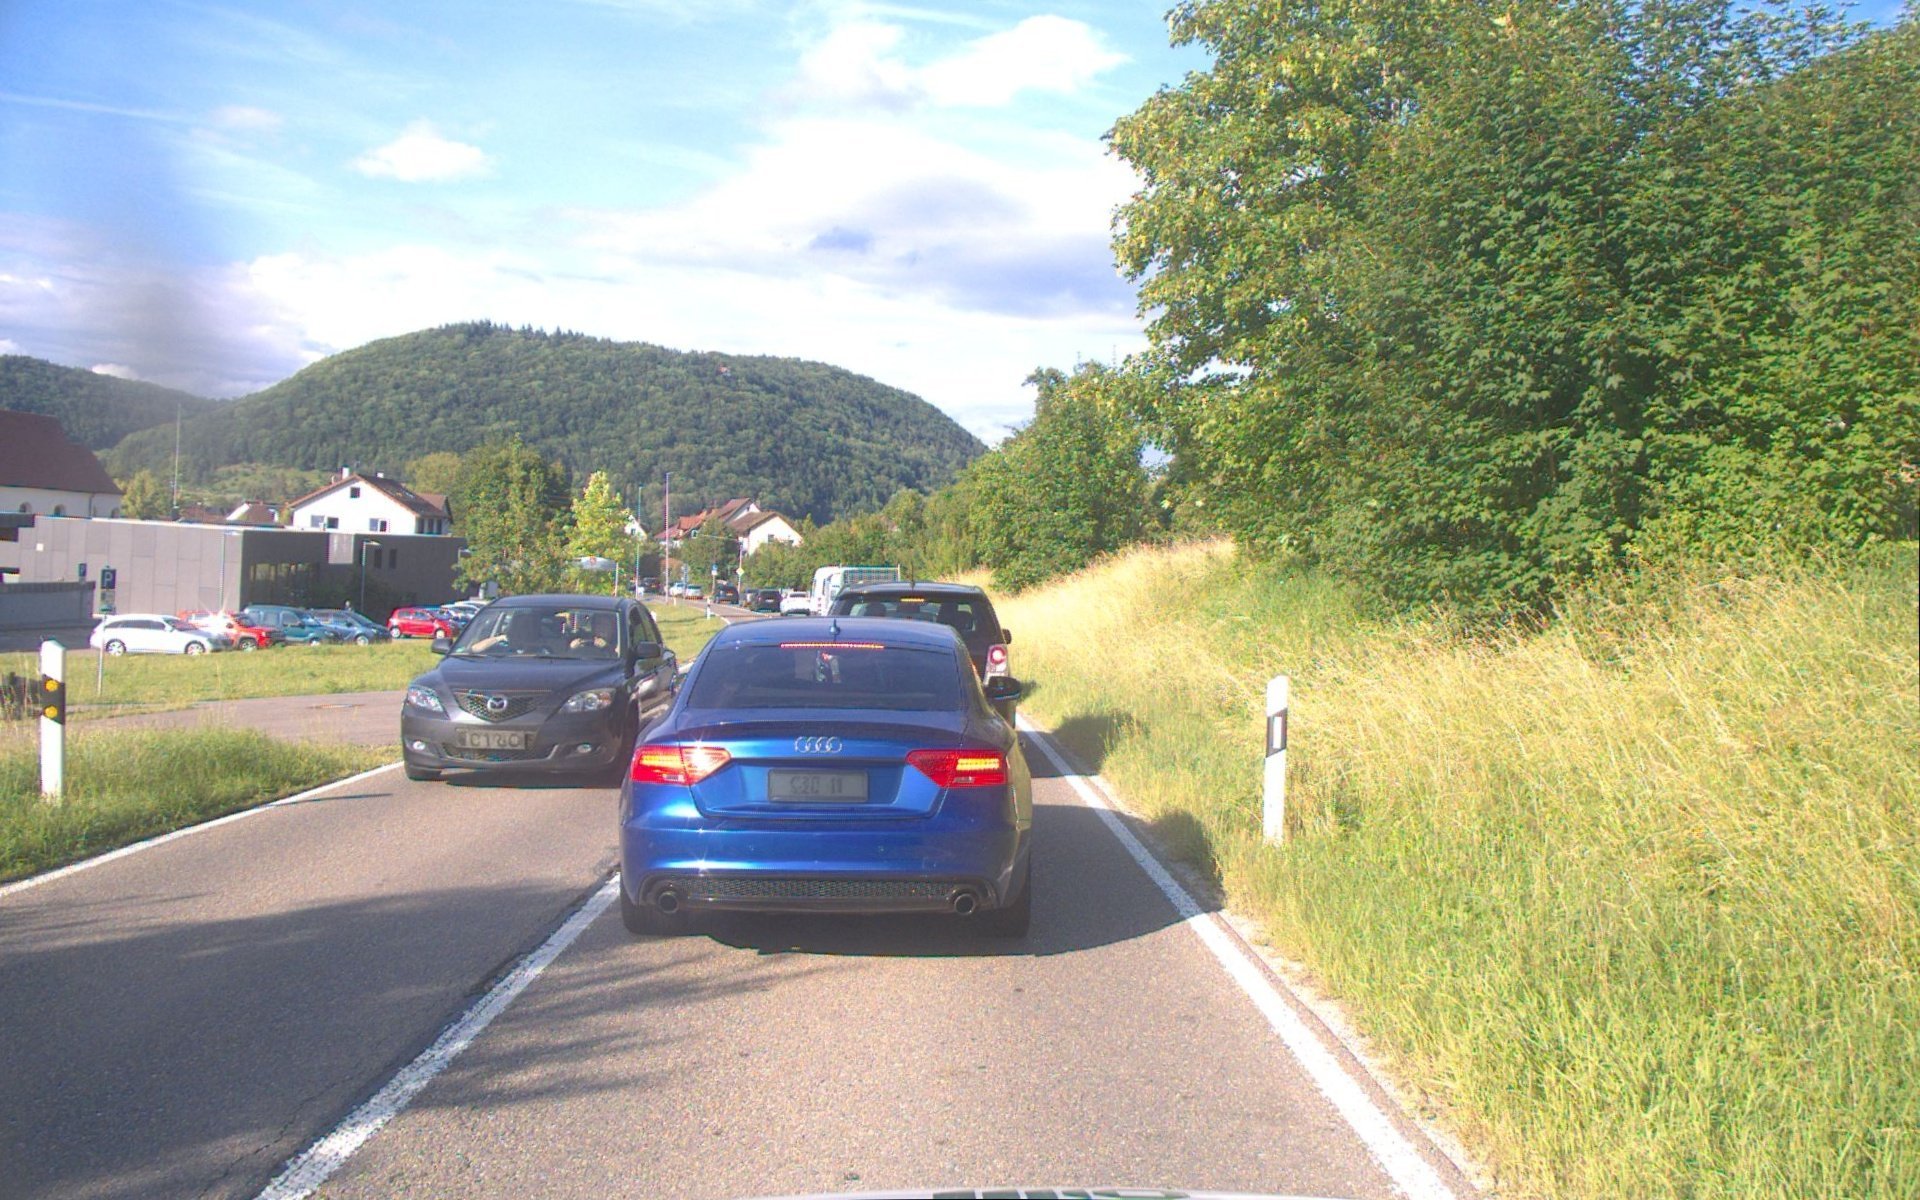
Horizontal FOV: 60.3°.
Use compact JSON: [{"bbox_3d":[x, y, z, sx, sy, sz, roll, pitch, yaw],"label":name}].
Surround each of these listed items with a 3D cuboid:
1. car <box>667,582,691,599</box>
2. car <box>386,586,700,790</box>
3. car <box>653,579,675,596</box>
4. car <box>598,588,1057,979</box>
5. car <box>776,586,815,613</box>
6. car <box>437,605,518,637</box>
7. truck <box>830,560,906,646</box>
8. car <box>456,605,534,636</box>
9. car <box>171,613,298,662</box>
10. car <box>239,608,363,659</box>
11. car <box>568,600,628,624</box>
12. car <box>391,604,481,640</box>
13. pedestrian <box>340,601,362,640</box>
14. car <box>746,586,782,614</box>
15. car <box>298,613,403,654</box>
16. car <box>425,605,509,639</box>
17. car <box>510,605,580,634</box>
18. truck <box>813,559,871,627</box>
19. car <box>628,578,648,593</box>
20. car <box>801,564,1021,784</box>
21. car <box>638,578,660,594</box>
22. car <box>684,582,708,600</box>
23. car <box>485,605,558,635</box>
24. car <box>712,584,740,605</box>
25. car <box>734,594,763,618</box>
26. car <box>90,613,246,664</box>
[{"bbox_3d":[-28.829,-0.958,169.330,1.817,1.742,3.979,1,0,-19],"label":"car"},{"bbox_3d":[-3.334,0.648,13.998,1.669,1.455,4.049,1,0,-1],"label":"car"},{"bbox_3d":[-32.016,-1.354,179.000,1.817,1.742,3.979,1,0,-19],"label":"car"},{"bbox_3d":[-0.497,0.706,8.194,1.718,1.455,3.846,1,0,0],"label":"car"},{"bbox_3d":[-9.720,-0.005,97.390,1.813,1.508,3.987,1,0,-13],"label":"car"},{"bbox_3d":[-26.764,1.160,91.822,3.907,1.741,1.999,1,0,-3],"label":"car"},{"bbox_3d":[-3.061,0.114,53.847,2.187,2.615,6.096,1,0,-6],"label":"truck"},{"bbox_3d":[-26.713,1.179,95.107,3.907,1.741,1.999,1,0,-3],"label":"car"},{"bbox_3d":[-27.590,1.418,62.995,3.907,1.741,1.999,1,0,-3],"label":"car"},{"bbox_3d":[-27.368,1.383,68.809,4.318,2.043,1.999,1,0,-3],"label":"car"},{"bbox_3d":[-25.819,0.865,118.148,3.907,1.606,1.751,1,0,-3],"label":"car"},{"bbox_3d":[-26.465,1.122,83.622,3.907,1.741,1.999,1,0,-3],"label":"car"},{"bbox_3d":[-32.547,1.104,88.377,0.808,2.049,0.973,1,-1,-1],"label":"pedestrian"},{"bbox_3d":[-12.960,0.004,109.206,1.814,1.742,3.985,1,0,-14],"label":"car"},{"bbox_3d":[-26.975,1.483,73.318,3.907,1.741,1.999,1,0,-3],"label":"car"},{"bbox_3d":[-26.240,1.150,88.174,3.907,1.741,1.999,1,0,-3],"label":"car"},{"bbox_3d":[-25.967,1.236,103.580,3.907,1.741,1.999,1,0,-3],"label":"car"},{"bbox_3d":[-4.927,-0.251,68.184,2.186,2.615,6.700,1,0,-5],"label":"truck"},{"bbox_3d":[-38.445,-1.724,197.180,1.817,1.742,3.979,1,0,-19],"label":"car"},{"bbox_3d":[-0.386,0.596,15.029,1.718,1.710,3.846,1,0,0],"label":"car"},{"bbox_3d":[-35.435,-1.541,188.391,1.817,1.742,3.979,1,0,-19],"label":"car"},{"bbox_3d":[-25.660,-0.882,160.728,1.815,1.742,3.983,1,0,-16],"label":"car"},{"bbox_3d":[-26.742,1.209,100.894,3.907,1.741,1.999,1,0,-3],"label":"car"},{"bbox_3d":[-20.105,-0.456,142.034,1.815,1.742,3.983,1,0,-15],"label":"car"},{"bbox_3d":[-16.152,0.451,126.270,1.814,1.742,3.987,1,0,-13],"label":"car"},{"bbox_3d":[-28.653,1.384,59.970,4.637,1.741,1.999,1,0,-3],"label":"car"}]
